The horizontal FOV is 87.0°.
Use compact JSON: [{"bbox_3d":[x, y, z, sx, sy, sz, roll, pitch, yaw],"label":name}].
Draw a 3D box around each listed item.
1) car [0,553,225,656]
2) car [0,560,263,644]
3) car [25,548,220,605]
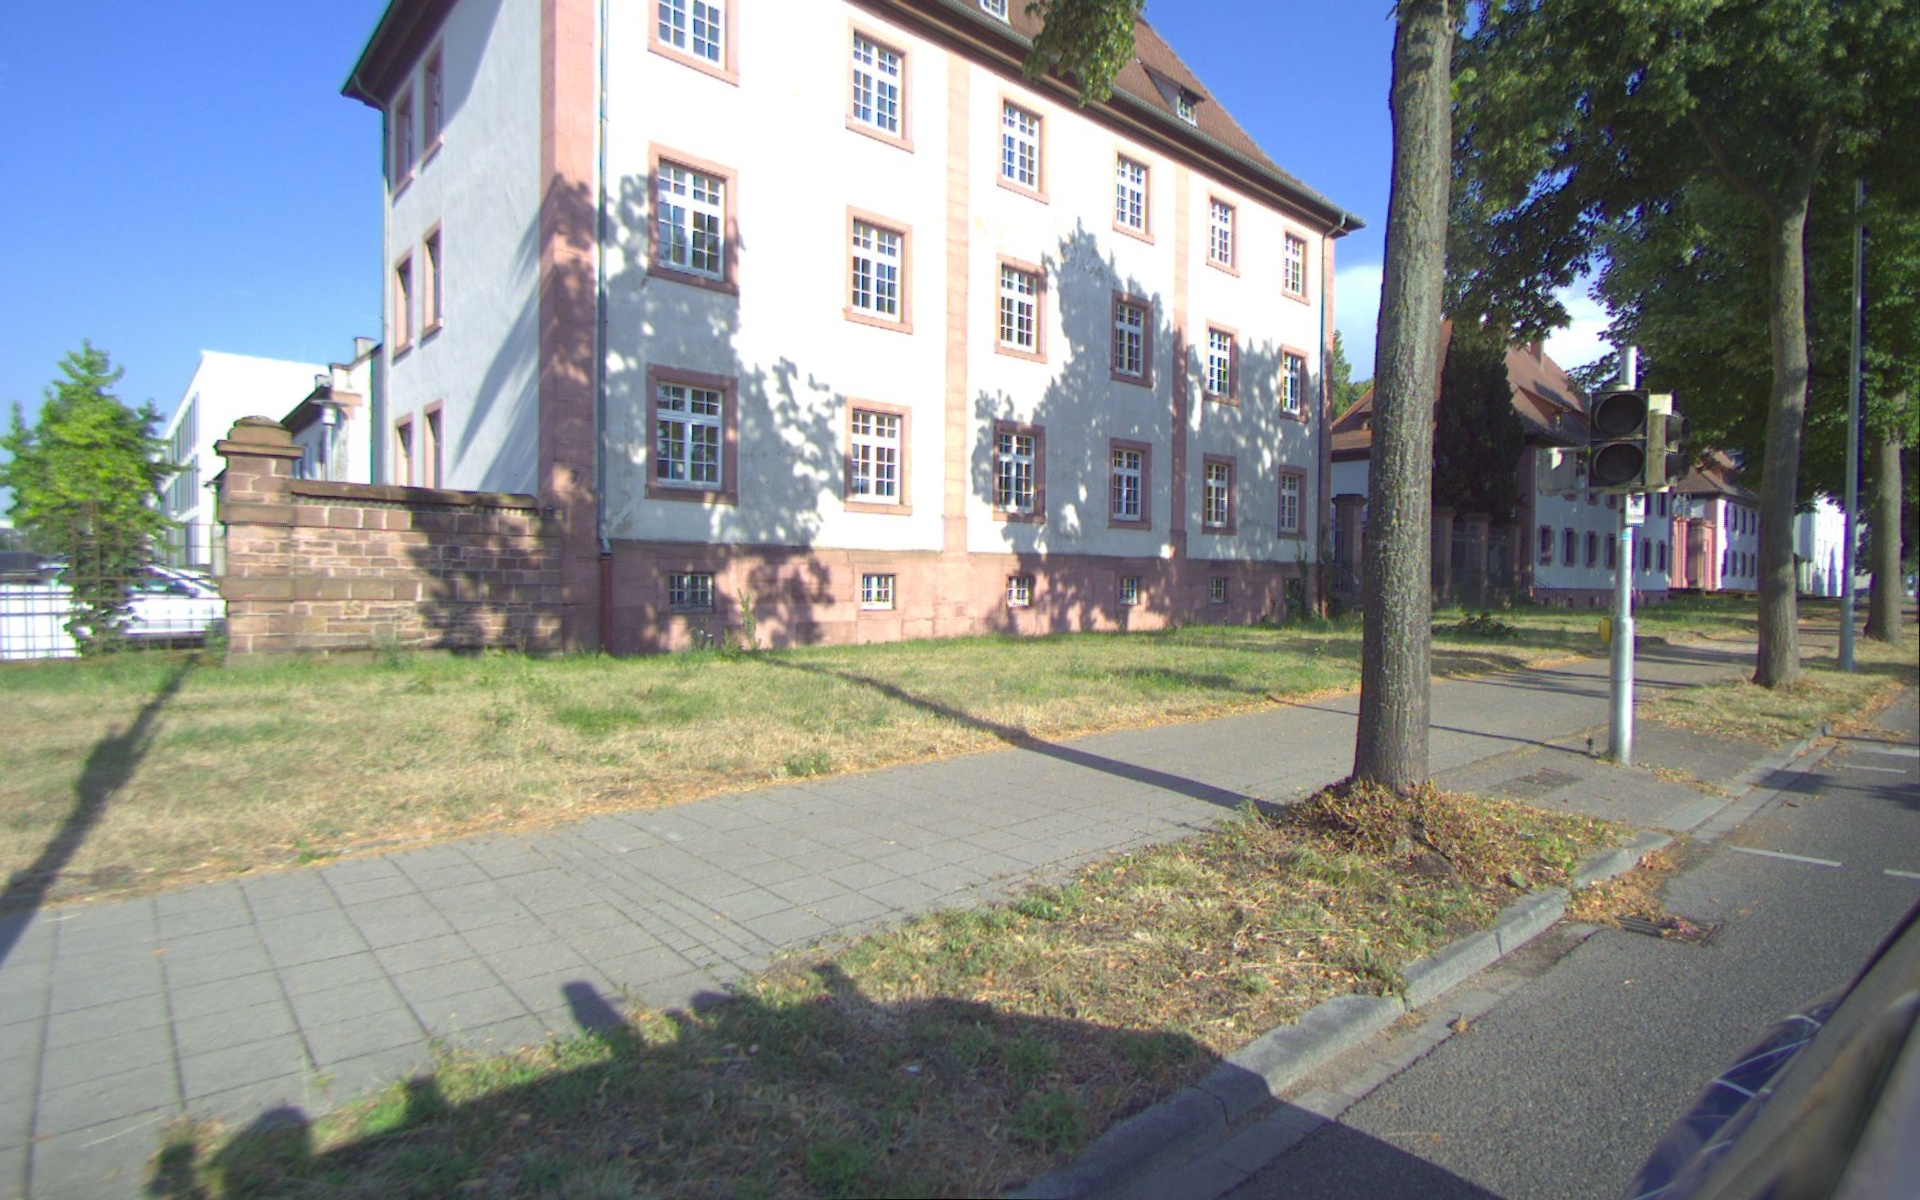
[{"bbox_3d":[-13.832,0.060,15.523,3.934,1.471,1.792,-3,1,-44],"label":"car"},{"bbox_3d":[-16.365,-0.009,20.060,3.934,1.471,1.995,-3,1,-44],"label":"car"},{"bbox_3d":[-27.936,-0.815,33.918,4.886,1.734,1.997,-2,1,-41],"label":"car"}]
